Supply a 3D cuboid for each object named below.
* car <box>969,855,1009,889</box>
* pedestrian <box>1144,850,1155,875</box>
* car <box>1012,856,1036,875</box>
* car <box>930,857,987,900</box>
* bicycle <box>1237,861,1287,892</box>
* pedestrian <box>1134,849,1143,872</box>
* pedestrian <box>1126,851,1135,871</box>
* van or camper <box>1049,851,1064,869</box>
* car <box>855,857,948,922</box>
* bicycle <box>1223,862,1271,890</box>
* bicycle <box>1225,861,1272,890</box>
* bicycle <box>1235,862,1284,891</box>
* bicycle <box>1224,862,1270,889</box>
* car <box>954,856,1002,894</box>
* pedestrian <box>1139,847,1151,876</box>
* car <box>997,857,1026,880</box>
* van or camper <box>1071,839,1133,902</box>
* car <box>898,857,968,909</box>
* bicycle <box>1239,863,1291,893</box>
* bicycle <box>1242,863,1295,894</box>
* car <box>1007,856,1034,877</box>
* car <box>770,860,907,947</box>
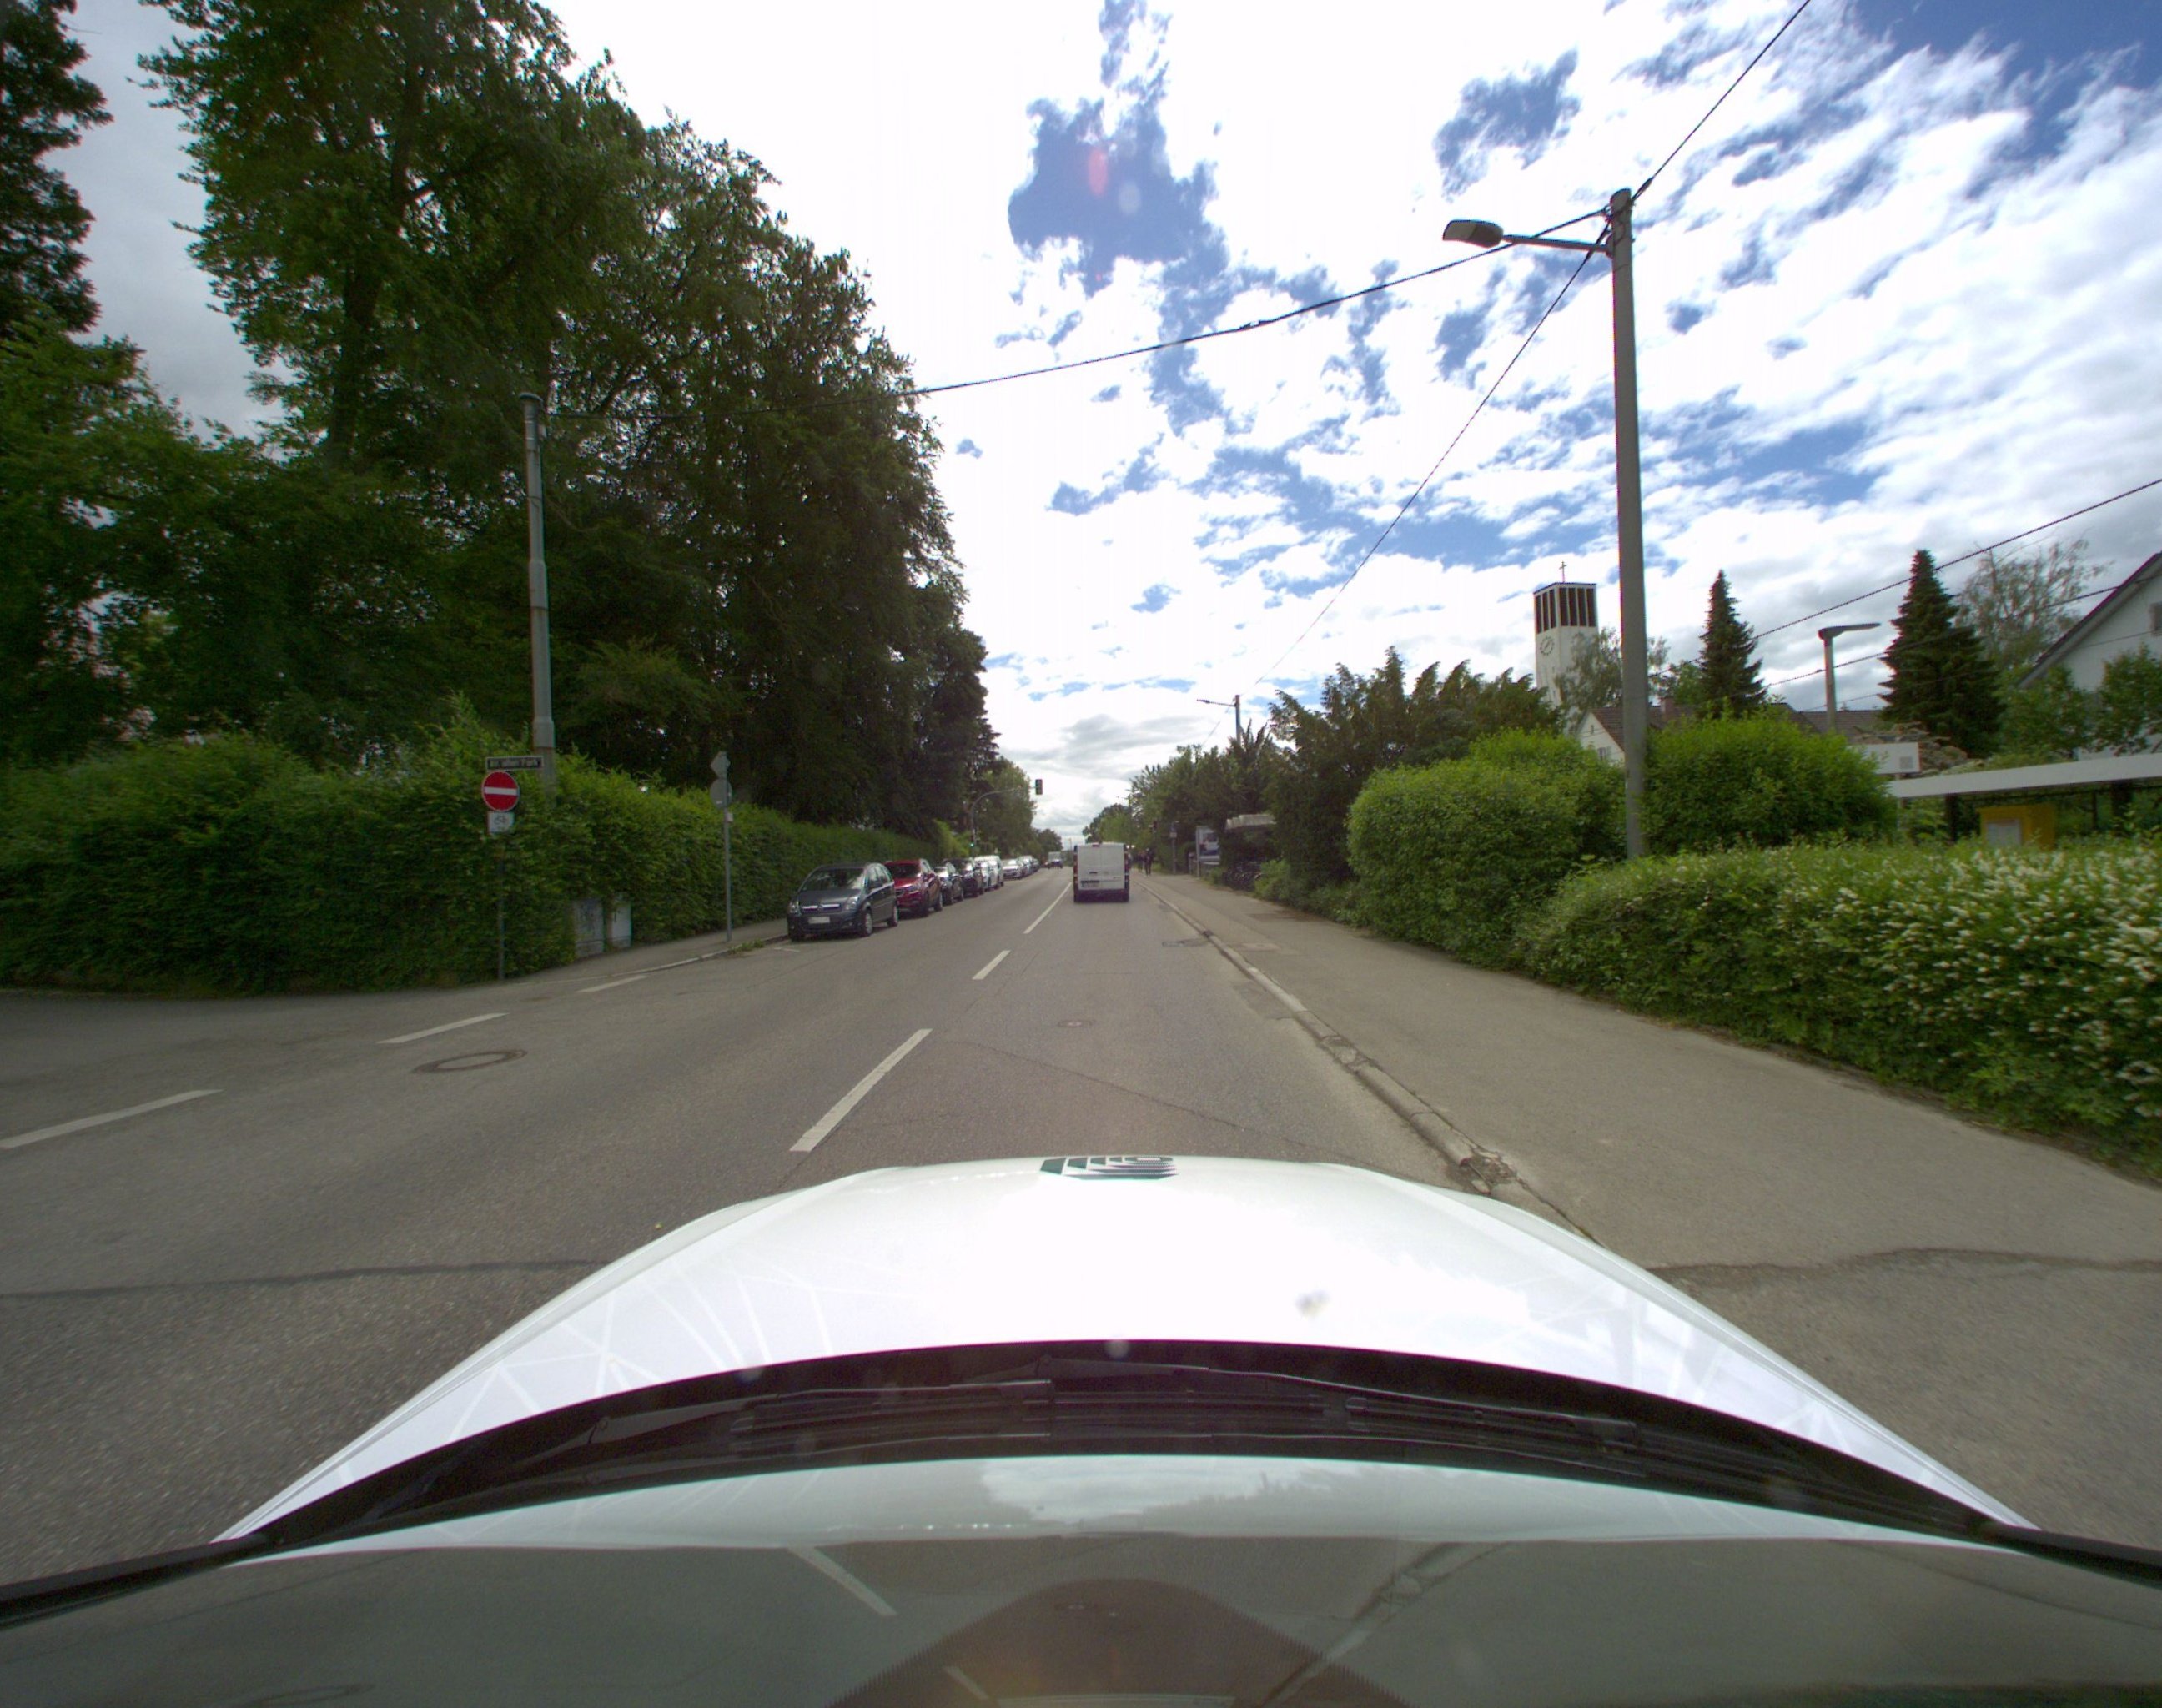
[{"bbox_3d":[-5.251,1.008,46.952,1.756,1.756,3.814,-3,0,0],"label":"car"},{"bbox_3d":[4.751,0.583,56.466,0.671,1.696,0.523,-1,0,6],"label":"pedestrian"},{"bbox_3d":[-5.291,1.036,75.949,1.774,1.669,4.002,-1,0,2],"label":"car"},{"bbox_3d":[-5.163,0.991,34.722,1.756,1.656,3.814,-3,0,0],"label":"car"},{"bbox_3d":[6.513,0.808,29.368,1.693,1.030,0.491,-1,0,0],"label":"bicycle"},{"bbox_3d":[4.702,0.518,66.619,0.649,1.806,0.564,-1,0,-11],"label":"pedestrian"},{"bbox_3d":[4.467,0.639,73.499,0.700,1.851,0.666,-1,0,1],"label":"pedestrian"},{"bbox_3d":[-3.367,0.840,112.040,1.999,2.261,4.609,-3,0,-1],"label":"van or camper"},{"bbox_3d":[-5.180,0.977,24.043,1.756,1.656,4.060,-3,0,0],"label":"car"},{"bbox_3d":[6.241,0.826,30.623,1.693,1.030,0.491,-1,0,0],"label":"bicycle"},{"bbox_3d":[6.394,0.824,31.141,1.693,1.030,0.491,-1,0,0],"label":"bicycle"},{"bbox_3d":[6.546,0.815,29.932,1.693,1.030,0.491,-1,0,0],"label":"bicycle"},{"bbox_3d":[6.461,0.832,31.691,1.693,1.030,0.491,-1,0,0],"label":"bicycle"},{"bbox_3d":[-5.035,0.991,40.228,1.756,1.656,3.814,-3,0,0],"label":"car"},{"bbox_3d":[4.059,0.496,51.899,0.676,1.841,0.647,-1,0,7],"label":"pedestrian"},{"bbox_3d":[-5.157,1.056,60.770,1.756,1.557,3.814,-3,0,0],"label":"car"},{"bbox_3d":[0.733,0.543,28.332,1.986,2.014,4.447,0,-1,2],"label":"van or camper"},{"bbox_3d":[-5.292,0.999,29.512,1.756,1.656,3.814,-3,0,0],"label":"car"},{"bbox_3d":[6.491,0.842,28.793,1.693,1.030,0.491,-1,0,0],"label":"bicycle"},{"bbox_3d":[6.488,0.853,28.237,1.693,1.030,0.491,-1,0,0],"label":"bicycle"},{"bbox_3d":[-5.133,1.018,69.488,1.774,1.669,4.002,-1,0,2],"label":"car"},{"bbox_3d":[-5.300,1.004,18.417,1.756,1.625,4.185,-3,0,0],"label":"car"}]
